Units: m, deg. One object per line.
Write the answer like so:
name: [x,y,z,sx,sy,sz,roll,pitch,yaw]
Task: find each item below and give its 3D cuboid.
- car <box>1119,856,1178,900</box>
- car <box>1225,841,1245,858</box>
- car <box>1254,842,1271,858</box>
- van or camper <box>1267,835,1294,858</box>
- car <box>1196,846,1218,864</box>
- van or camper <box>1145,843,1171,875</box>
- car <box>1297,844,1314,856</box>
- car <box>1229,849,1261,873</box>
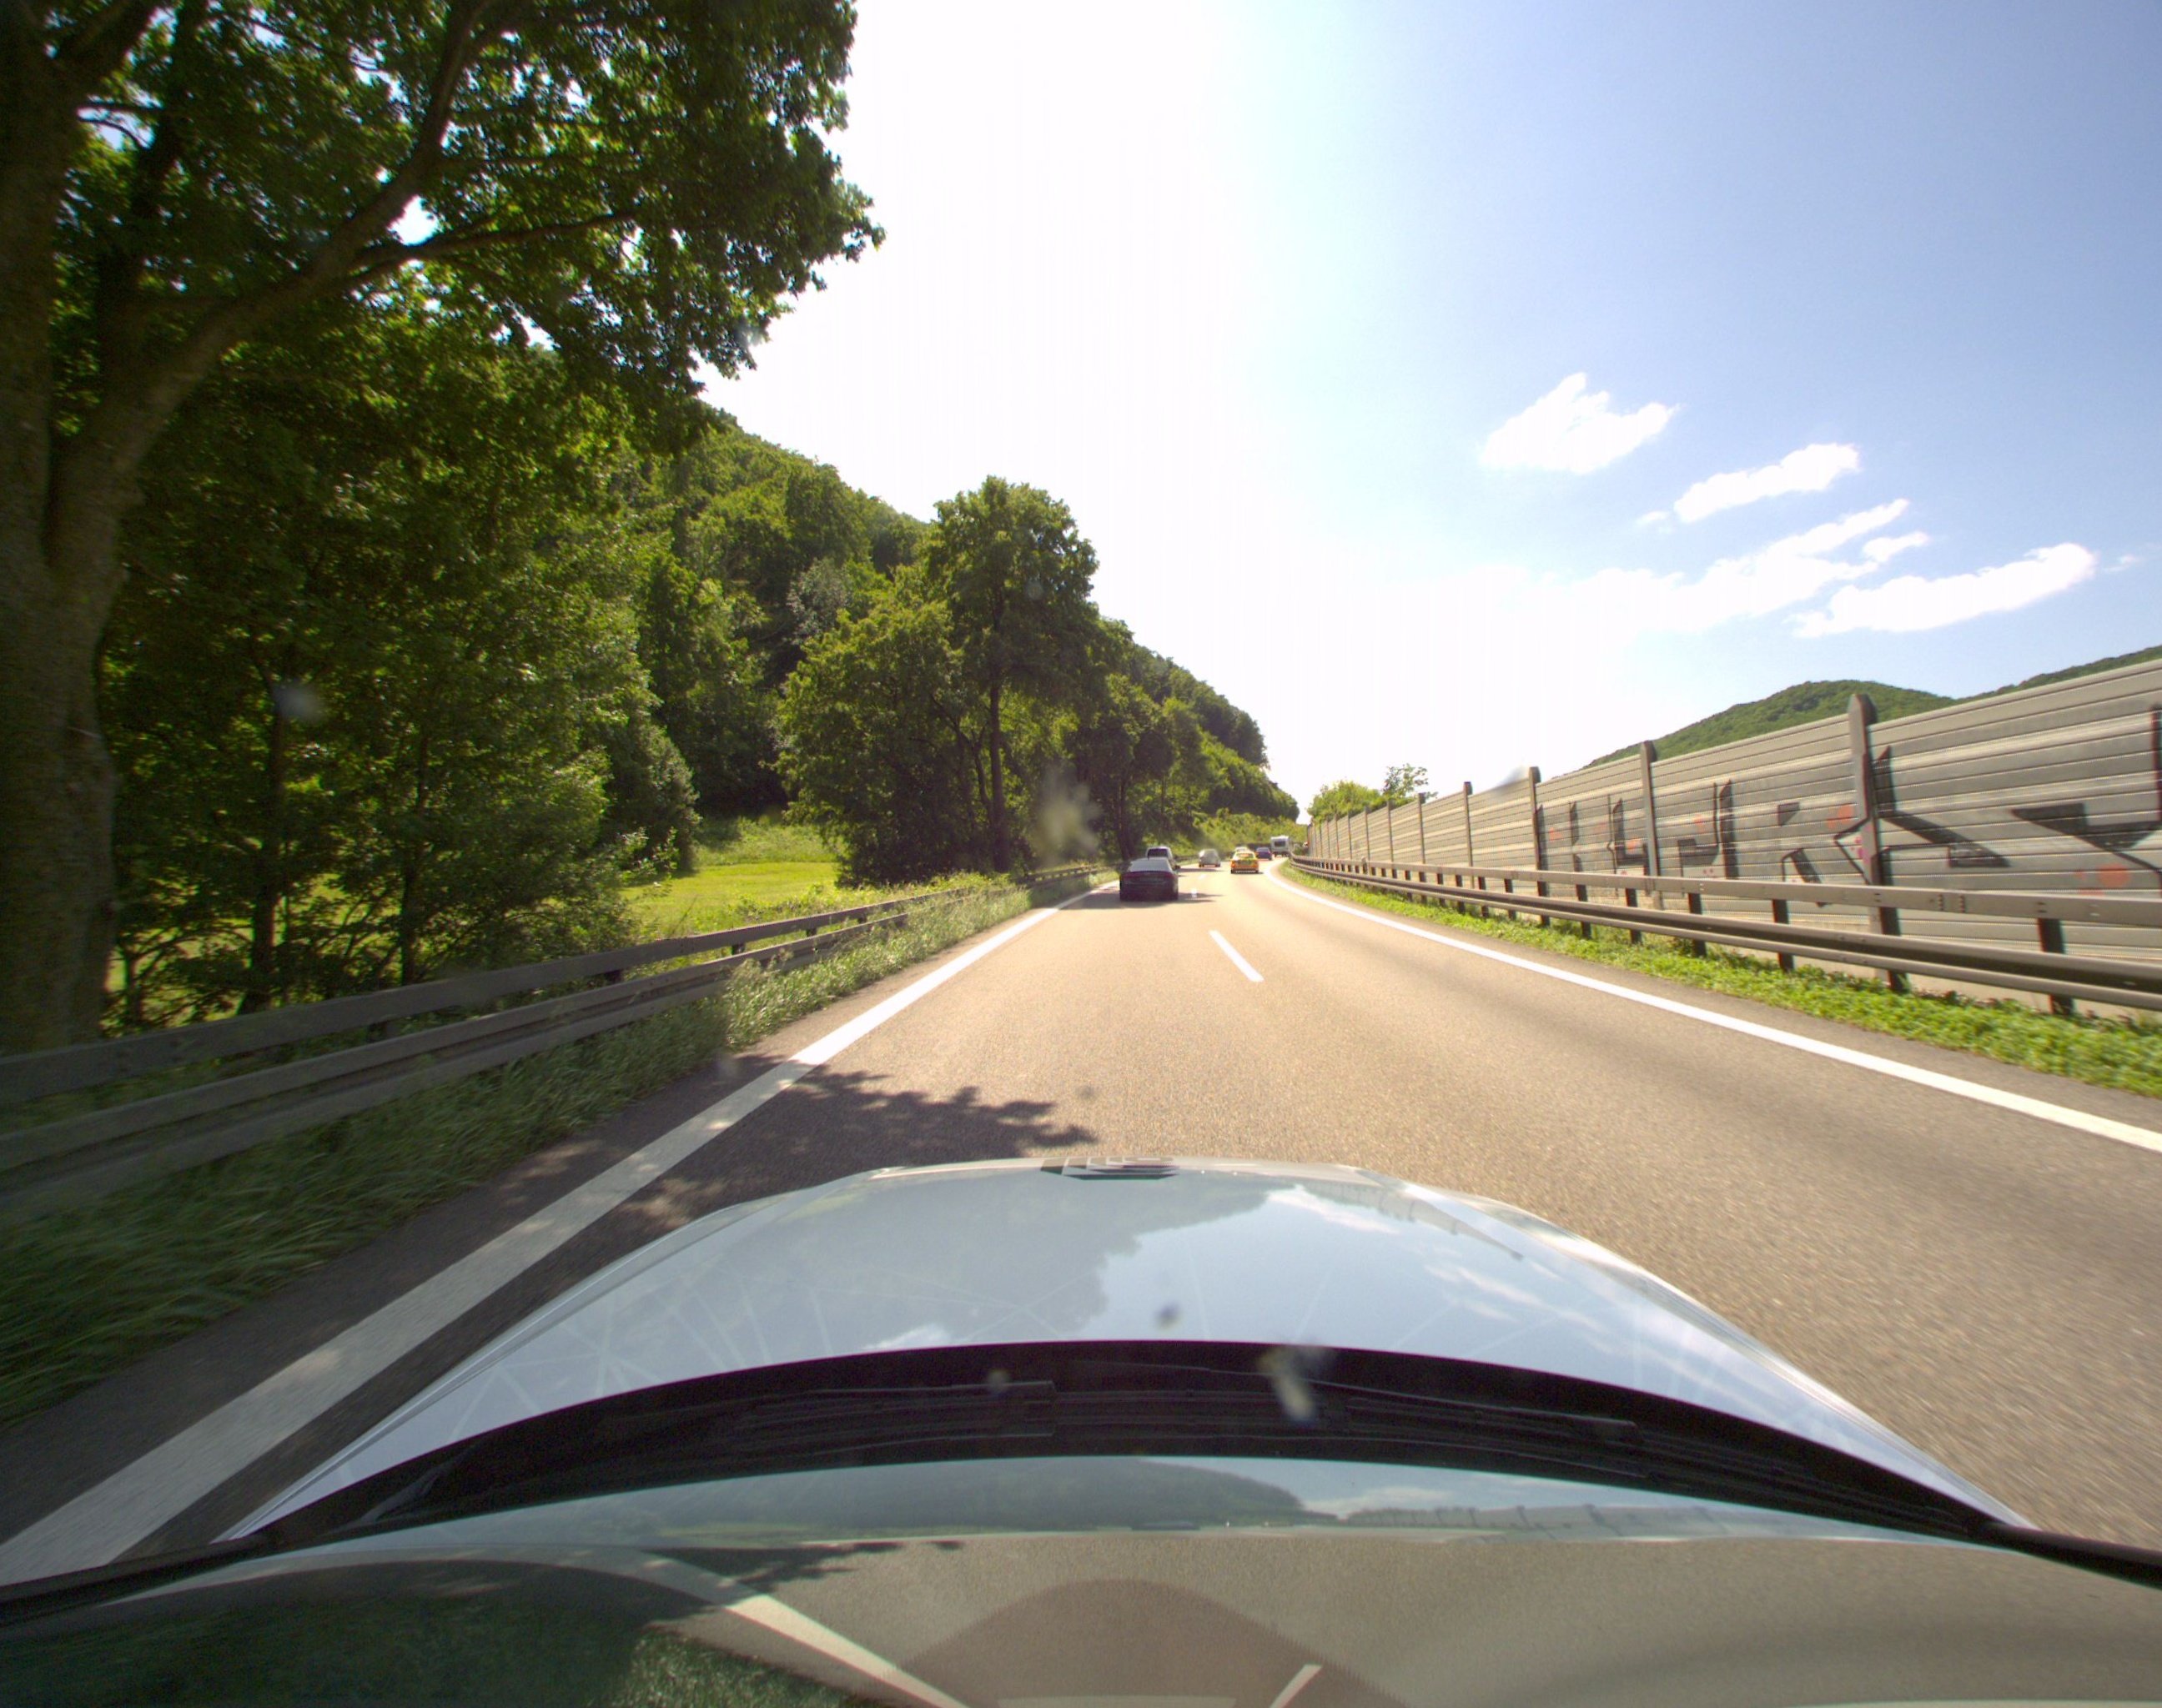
car: [2.309,0.771,27.145,1.828,1.349,4.007,0,-1,6]
car: [19.293,-0.574,101.760,1.978,2.013,4.017,-2,0,16]
car: [20.470,-0.423,91.788,1.761,1.637,4.014,-2,-1,12]
van or camper: [26.523,-1.019,108.121,2.434,2.918,6.159,-2,-1,22]
car: [10.970,0.093,70.622,1.736,1.431,4.012,-2,-1,11]
van or camper: [4.663,0.314,49.663,1.385,1.816,4.004,-2,-1,4]
car: [37.365,-0.682,135.554,1.975,1.717,4.024,-2,0,26]
car: [10.837,0.455,53.616,1.850,1.488,4.014,-2,-1,13]
